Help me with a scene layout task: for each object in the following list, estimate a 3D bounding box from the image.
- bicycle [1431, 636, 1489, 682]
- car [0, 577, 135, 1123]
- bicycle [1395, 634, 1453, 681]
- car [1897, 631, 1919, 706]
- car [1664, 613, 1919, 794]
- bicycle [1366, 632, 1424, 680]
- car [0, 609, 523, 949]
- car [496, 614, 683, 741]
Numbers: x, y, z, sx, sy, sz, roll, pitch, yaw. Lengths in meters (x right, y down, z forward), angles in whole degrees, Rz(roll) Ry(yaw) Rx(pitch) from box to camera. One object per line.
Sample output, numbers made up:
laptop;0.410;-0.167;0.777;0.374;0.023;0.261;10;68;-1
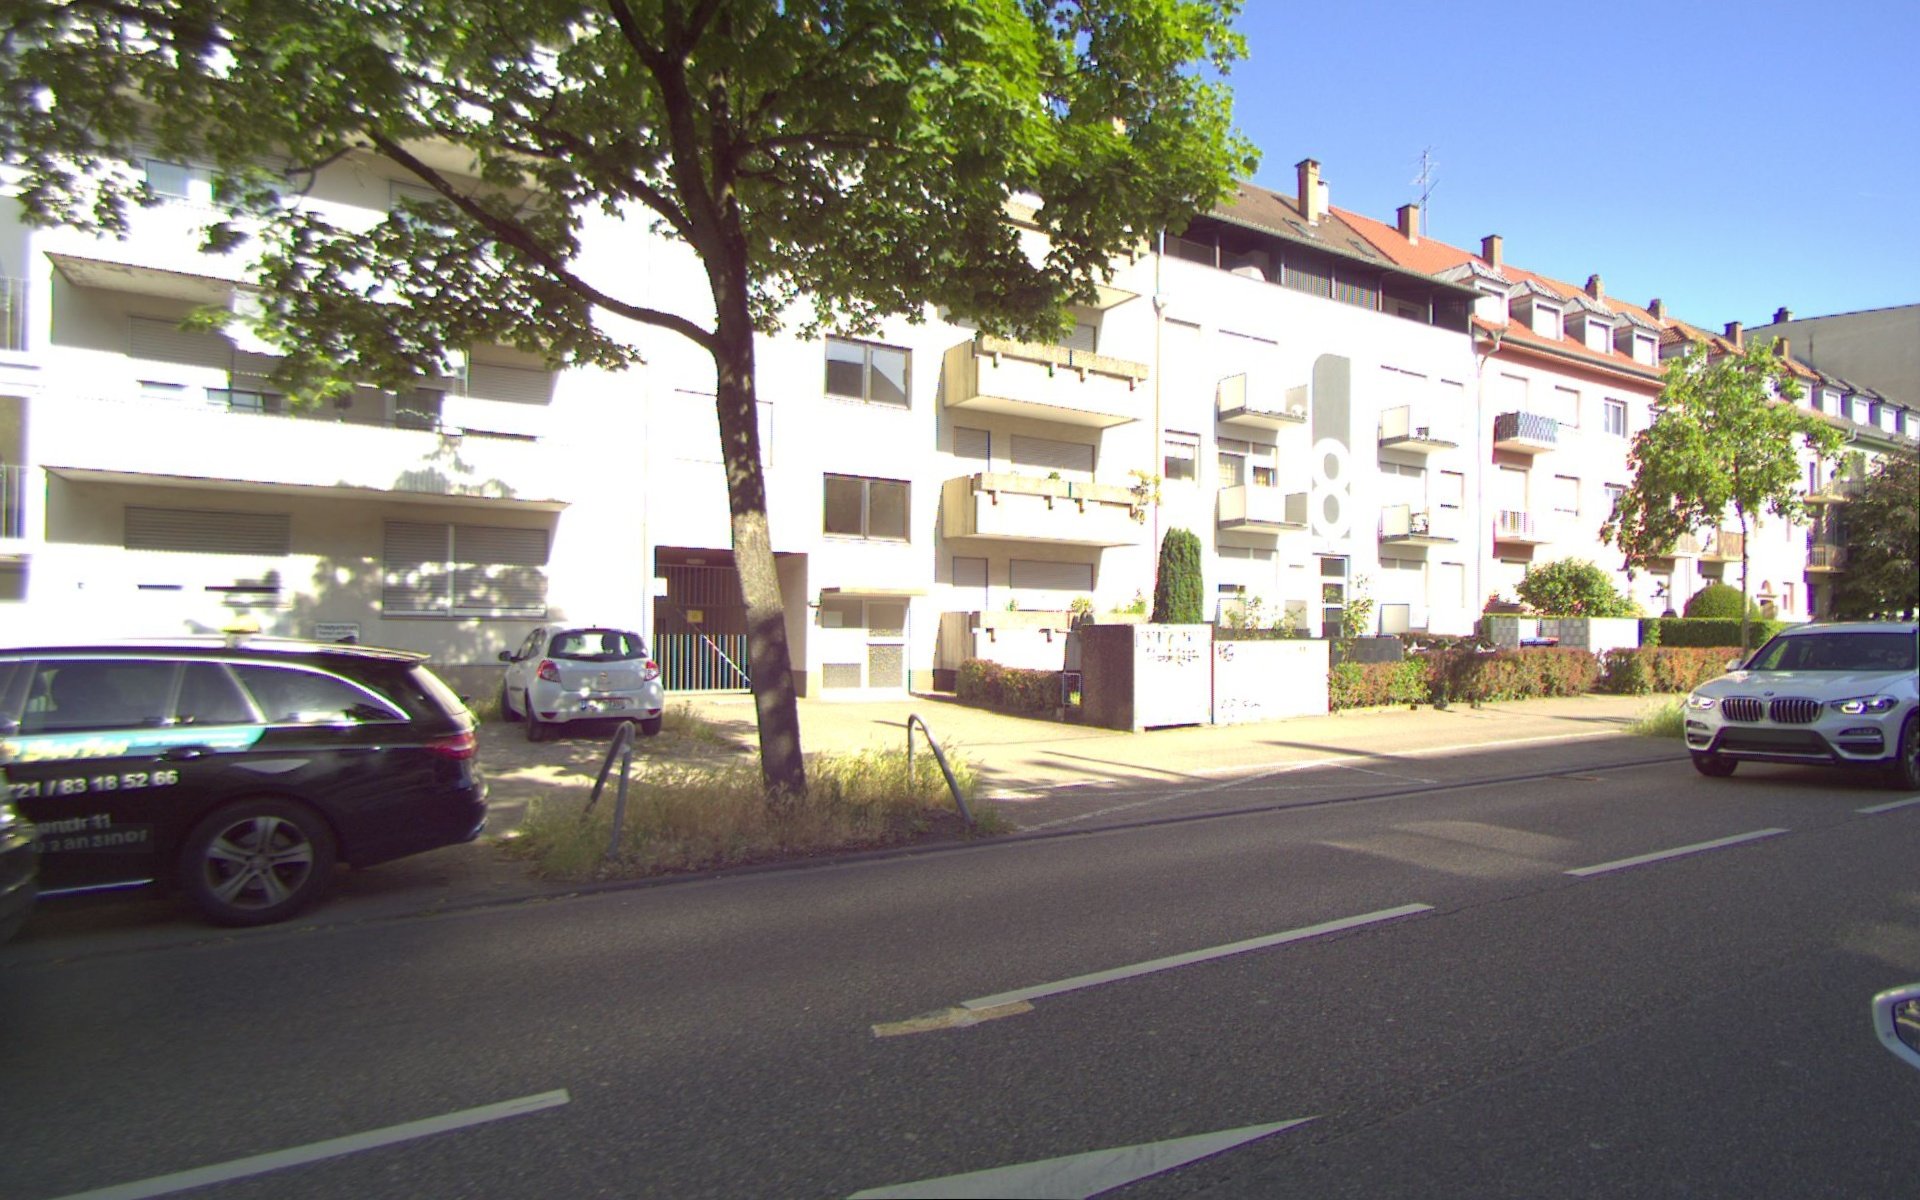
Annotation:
bicycle;11.252;1.323;22.594;1.530;0.996;0.397;1;-2;-31
car;-5.029;0.740;2.526;4.293;1.586;1.711;1;-4;-31
bicycle;10.847;1.327;23.479;1.530;1.067;0.418;1;-2;-30
car;21.877;1.475;21.661;3.620;1.546;1.665;1;1;-34
car;10.058;1.053;11.268;4.620;1.669;1.798;1;-4;-31
bicycle;10.498;1.336;24.221;1.530;1.126;0.446;1;-2;-30
car;-4.950;0.842;5.368;4.626;1.556;1.713;1;-1;-31
car;-5.421;0.976;14.396;1.859;1.506;3.968;1;-1;-30
